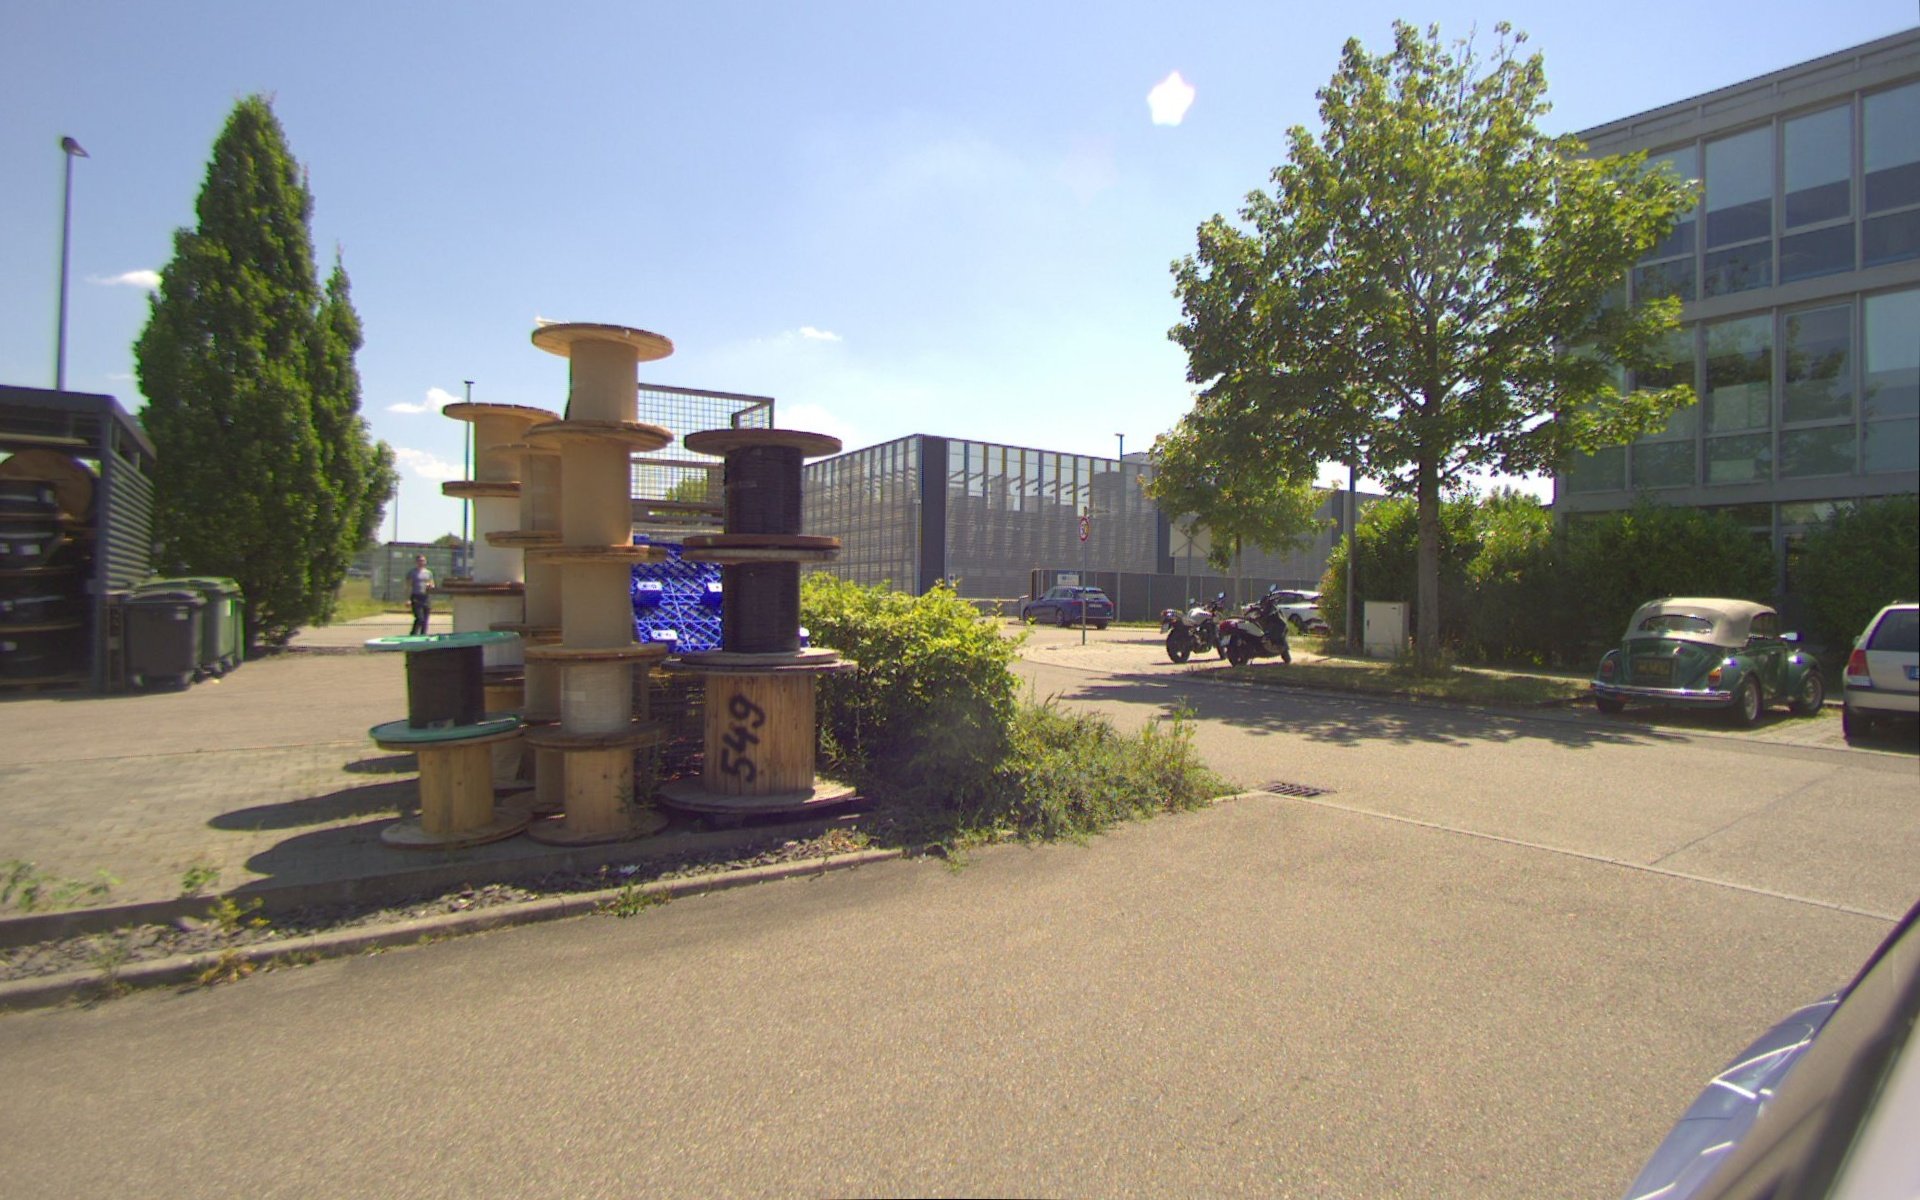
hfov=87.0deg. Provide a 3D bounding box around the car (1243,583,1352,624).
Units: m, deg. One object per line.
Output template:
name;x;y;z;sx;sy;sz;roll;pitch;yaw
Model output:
car;13.045;0.098;39.383;1.743;1.494;4.425;1;1;-18

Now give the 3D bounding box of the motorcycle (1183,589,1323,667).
motorcycle;5.283;0.458;18.145;2.782;1.275;0.874;0;1;-36

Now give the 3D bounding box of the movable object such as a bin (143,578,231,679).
movable object such as a bin;-10.404;0.357;13.645;0.785;1.314;0.757;0;1;-25

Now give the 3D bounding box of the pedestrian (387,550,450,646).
pedestrian;-10.314;-0.048;19.300;0.793;1.790;0.769;1;1;-3

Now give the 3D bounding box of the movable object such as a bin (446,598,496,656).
movable object such as a bin;-8.219;0.445;17.016;0.581;0.929;0.541;1;1;32

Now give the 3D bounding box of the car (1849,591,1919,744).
car;10.936;0.671;10.833;3.538;1.470;1.641;-1;2;-41

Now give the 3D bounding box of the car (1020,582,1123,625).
car;3.897;0.094;36.200;1.820;1.427;4.456;1;1;-20

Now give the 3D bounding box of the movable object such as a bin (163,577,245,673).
movable object such as a bin;-10.759;0.327;14.432;0.785;1.314;0.811;0;1;-25

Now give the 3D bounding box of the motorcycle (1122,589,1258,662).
motorcycle;4.377;0.438;19.137;2.782;1.275;0.874;0;1;-36

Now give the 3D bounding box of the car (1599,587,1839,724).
car;9.525;0.586;12.642;3.356;1.463;1.522;0;2;-37

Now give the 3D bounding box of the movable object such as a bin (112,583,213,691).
movable object such as a bin;-9.820;0.429;12.500;0.785;1.265;0.878;0;1;-25
